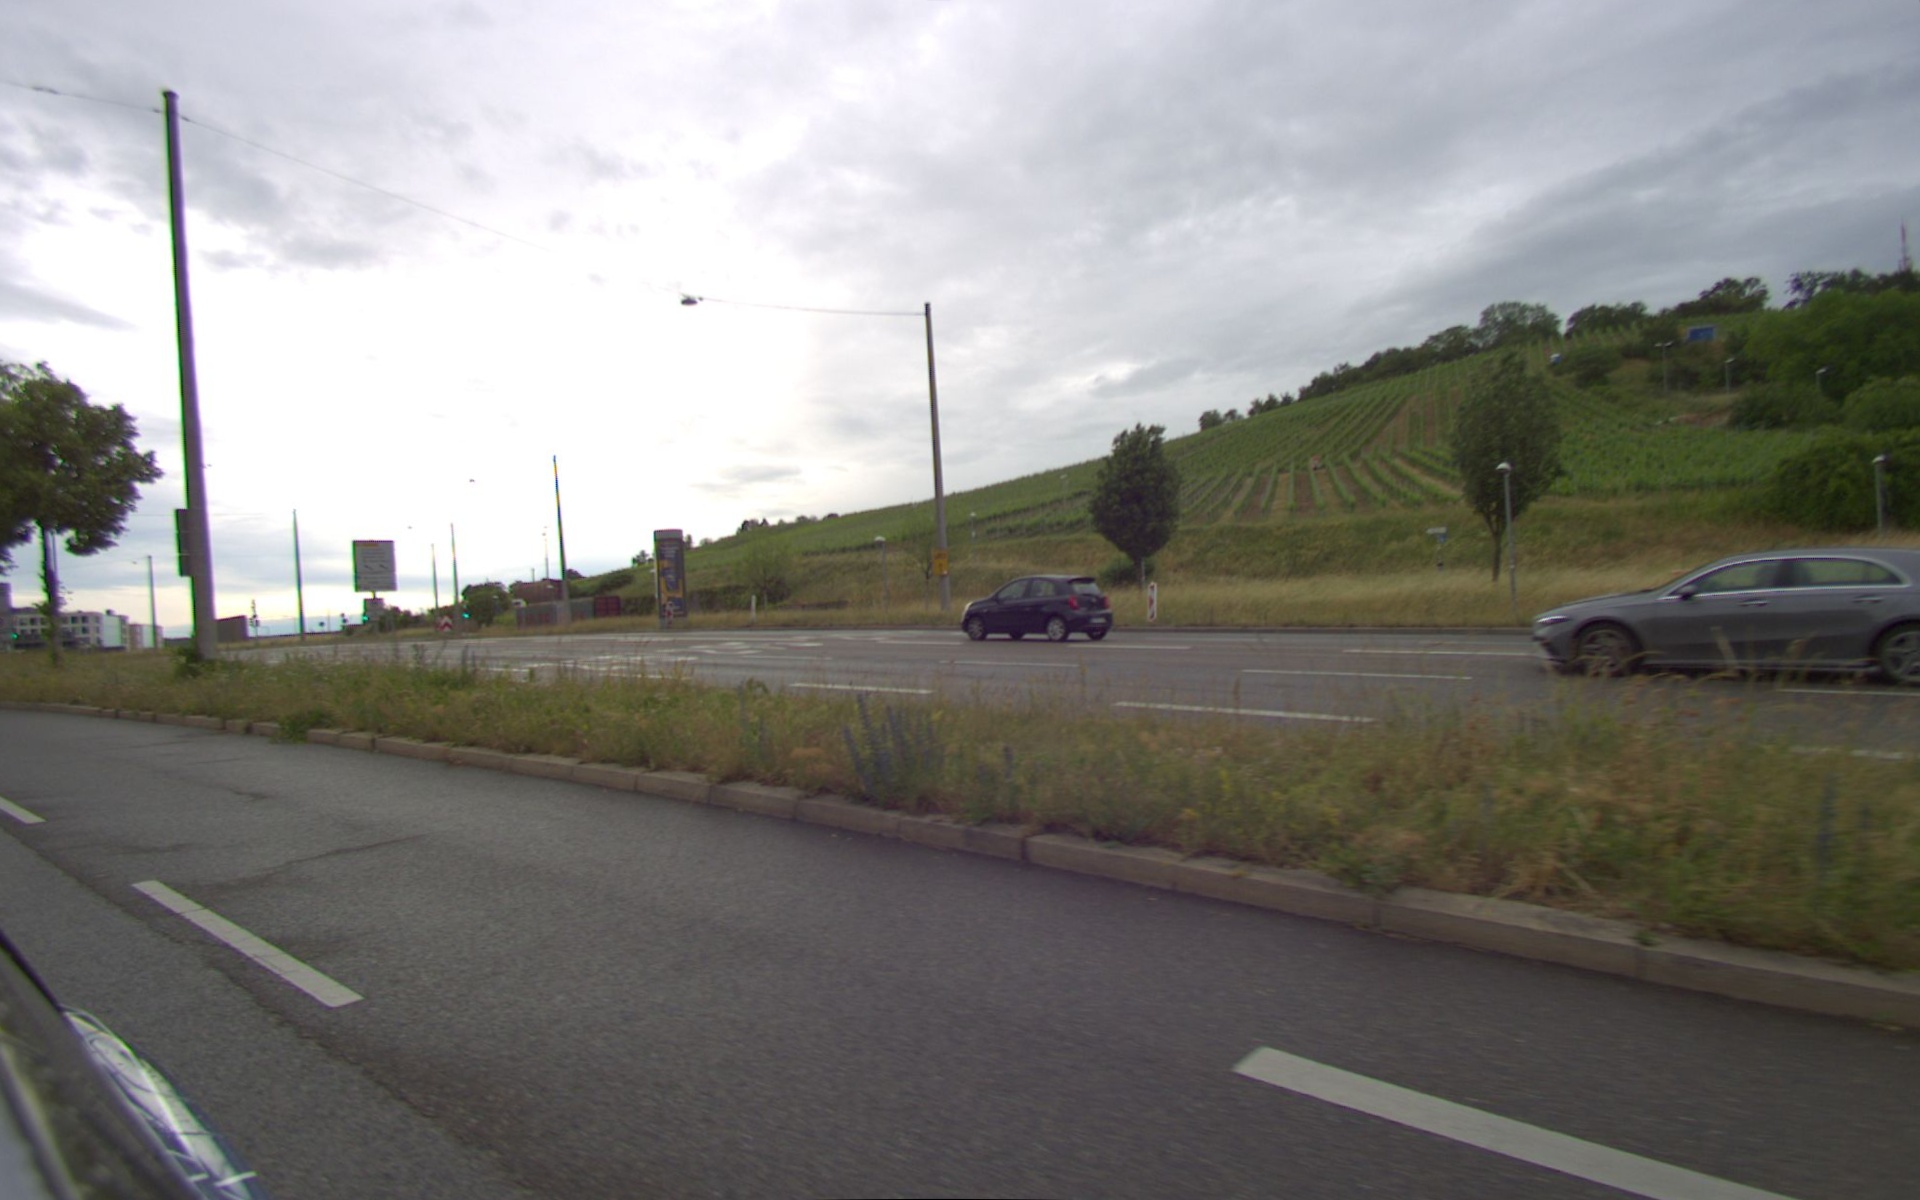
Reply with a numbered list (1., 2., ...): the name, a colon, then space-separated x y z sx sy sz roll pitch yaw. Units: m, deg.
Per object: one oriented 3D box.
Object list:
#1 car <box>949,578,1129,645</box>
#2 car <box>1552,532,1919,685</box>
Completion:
1. car: 1.780 0.198 23.669 4.001 1.394 1.748 1 3 43
2. car: 9.242 0.052 11.549 4.000 1.529 1.748 0 2 43
